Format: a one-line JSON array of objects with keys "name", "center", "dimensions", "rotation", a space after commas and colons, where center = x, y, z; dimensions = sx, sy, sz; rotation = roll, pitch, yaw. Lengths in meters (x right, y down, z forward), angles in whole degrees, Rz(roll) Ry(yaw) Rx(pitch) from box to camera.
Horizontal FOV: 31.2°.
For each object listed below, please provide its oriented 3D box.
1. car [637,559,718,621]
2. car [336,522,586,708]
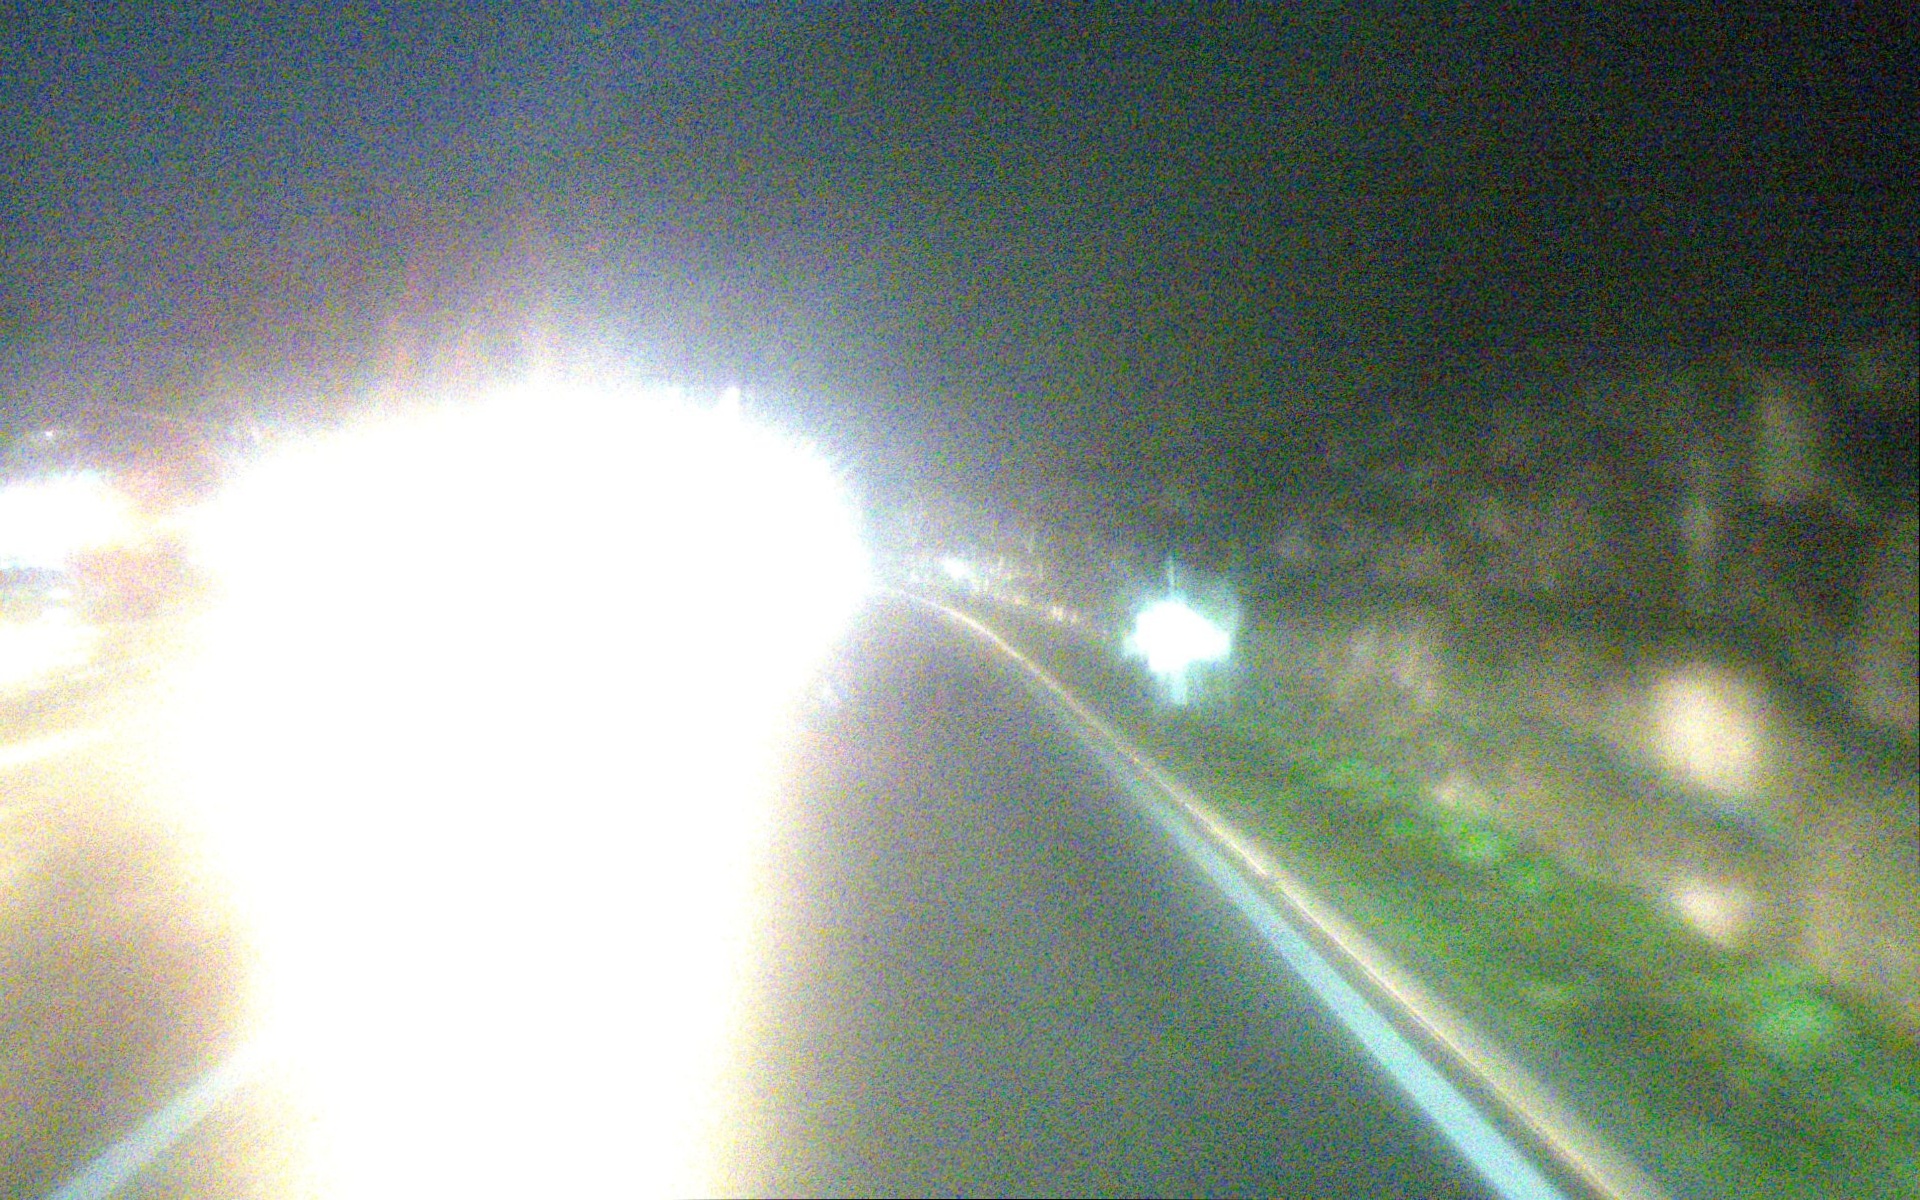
[{"name": "car", "center": [-6.673, -0.253, 81.473], "dimensions": [1.711, 1.412, 4.066], "rotation": [1, 1, -2]}, {"name": "car", "center": [-4.561, 0.109, 31.898], "dimensions": [1.827, 1.612, 3.729], "rotation": [1, 1, -1]}]
